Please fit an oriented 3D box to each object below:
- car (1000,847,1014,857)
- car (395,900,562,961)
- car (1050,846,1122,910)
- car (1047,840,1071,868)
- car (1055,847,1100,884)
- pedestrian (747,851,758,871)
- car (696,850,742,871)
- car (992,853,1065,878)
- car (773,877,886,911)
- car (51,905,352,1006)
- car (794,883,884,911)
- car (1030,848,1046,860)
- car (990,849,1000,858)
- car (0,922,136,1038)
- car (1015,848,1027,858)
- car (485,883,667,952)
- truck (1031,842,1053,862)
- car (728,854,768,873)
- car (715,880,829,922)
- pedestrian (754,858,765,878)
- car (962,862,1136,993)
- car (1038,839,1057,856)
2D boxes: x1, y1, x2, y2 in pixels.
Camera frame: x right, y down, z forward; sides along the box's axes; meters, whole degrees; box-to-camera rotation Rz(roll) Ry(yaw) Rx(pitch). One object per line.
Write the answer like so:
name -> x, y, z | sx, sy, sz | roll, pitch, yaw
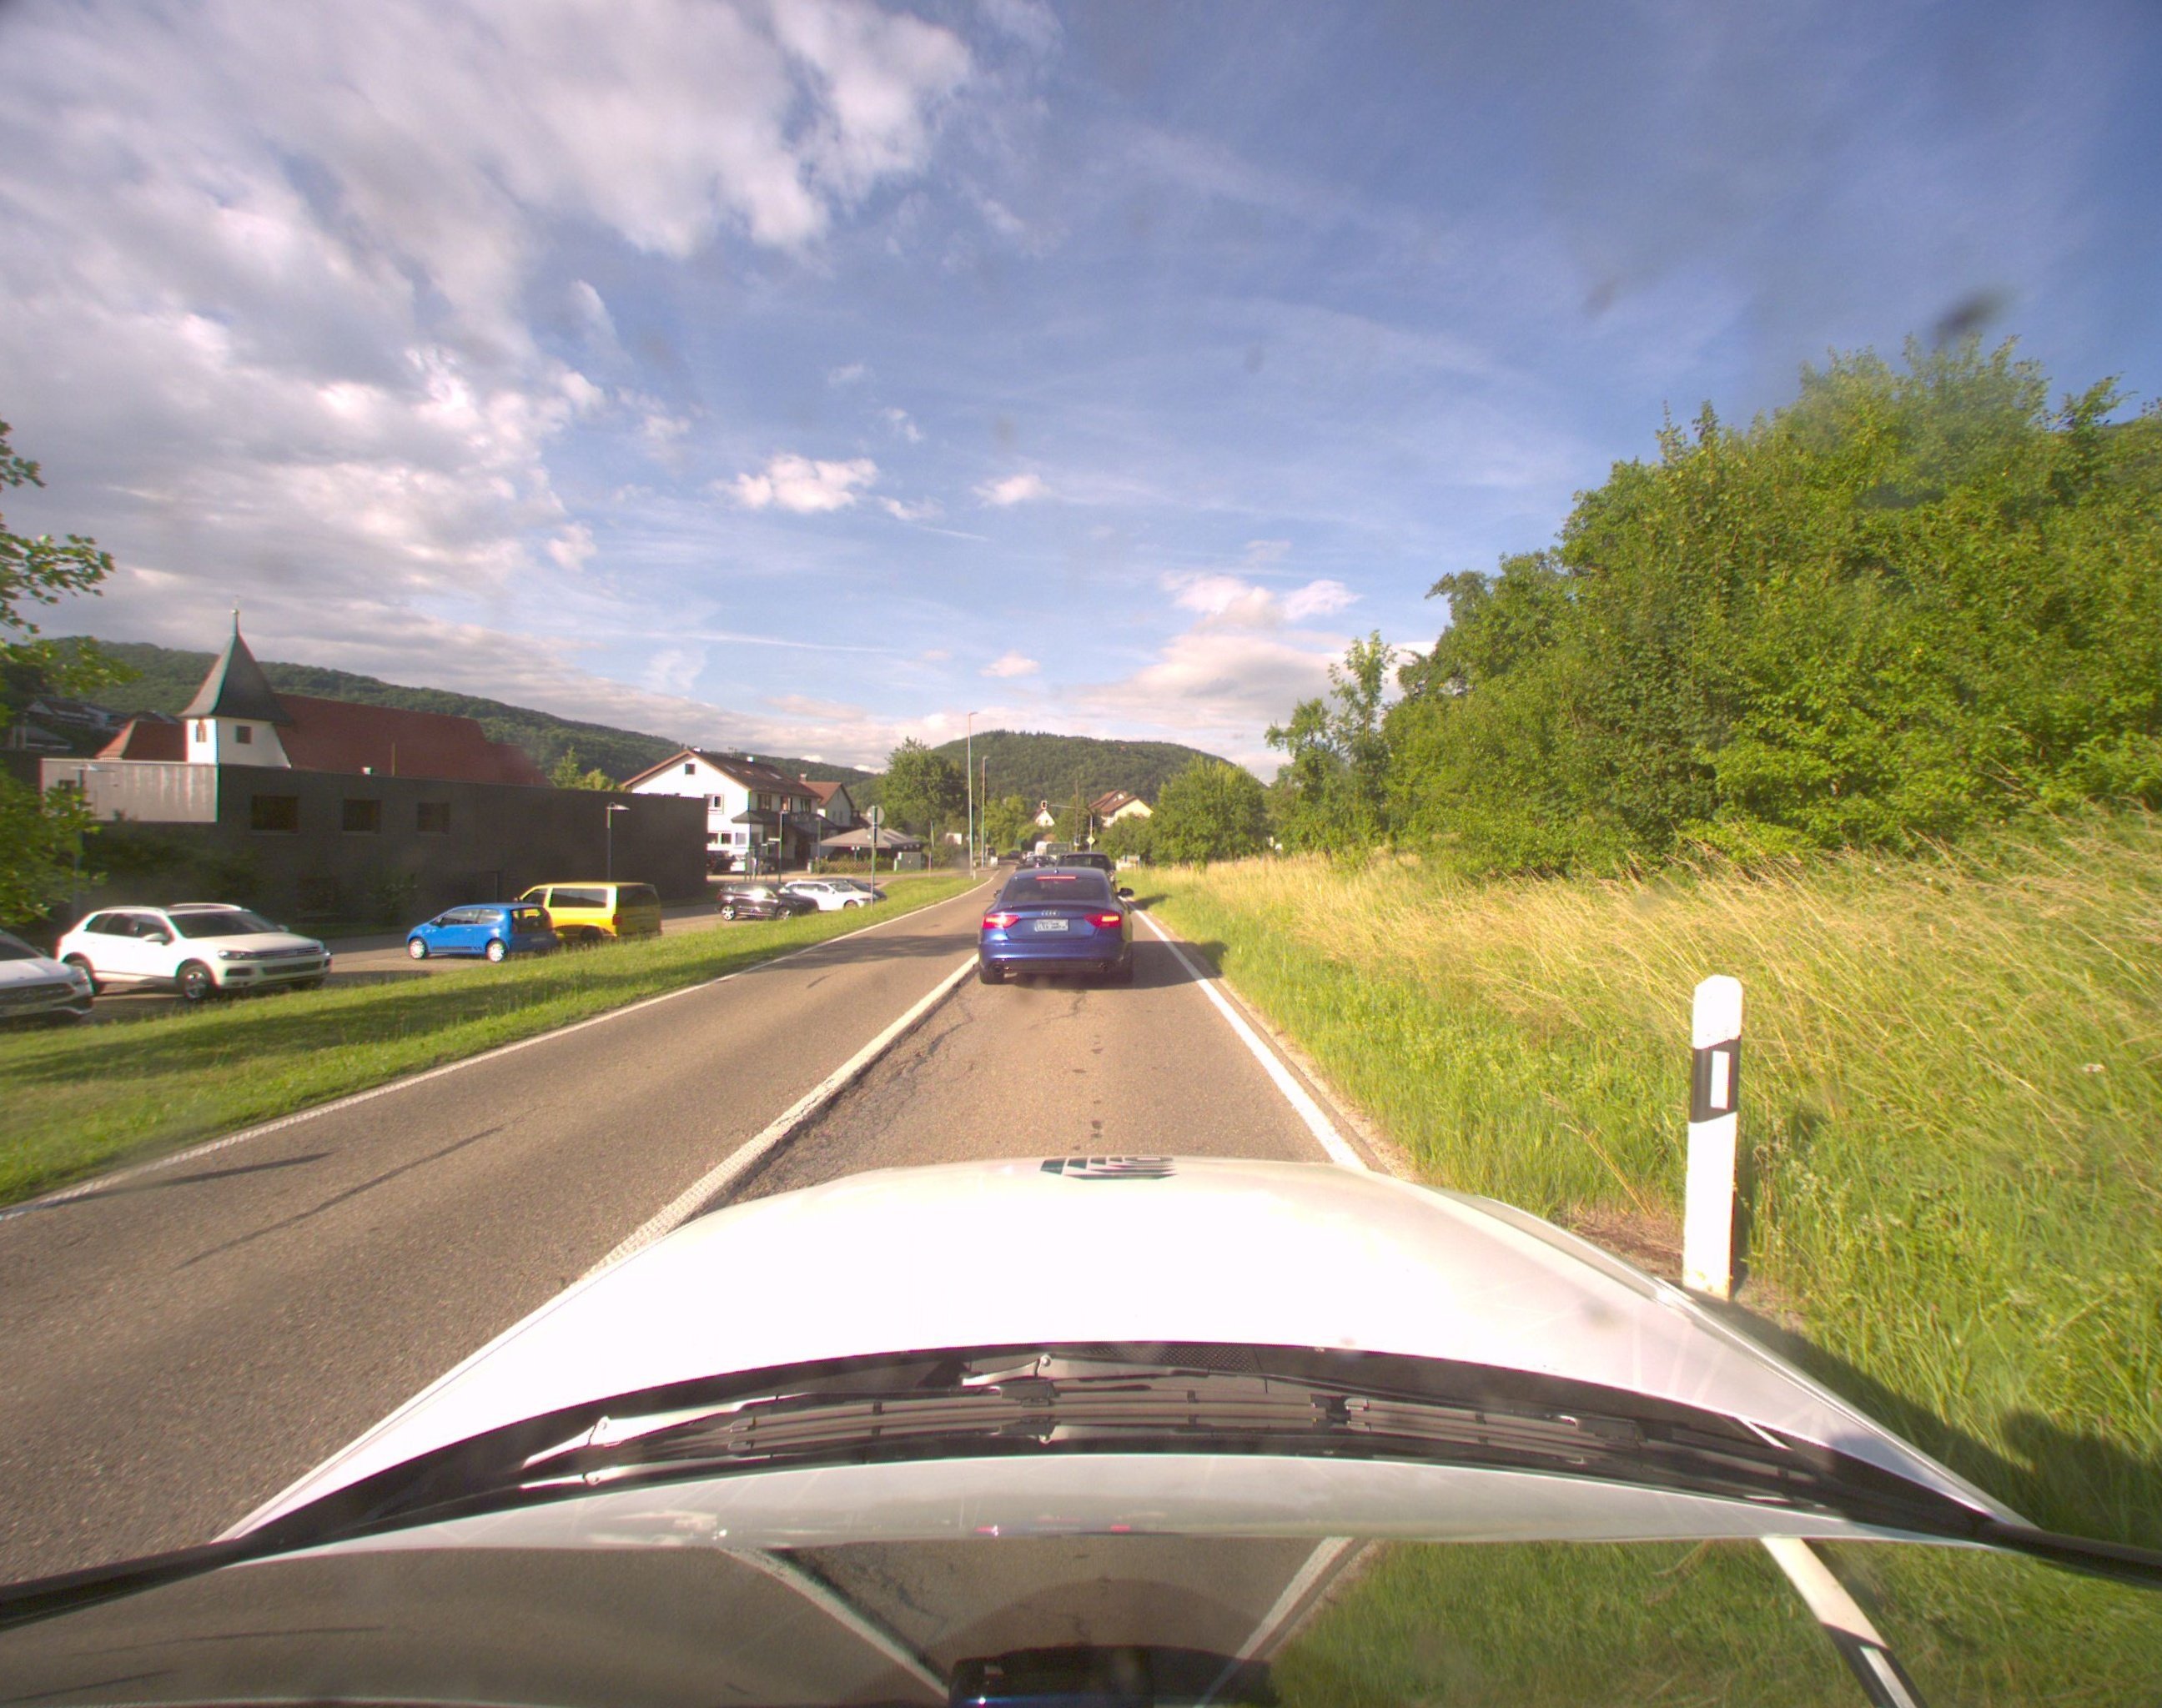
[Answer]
car -> -11.324, -0.241, 124.137 | 1.699, 1.490, 3.511 | 0, -1, -12
car -> -16.151, 2.023, 21.907 | 3.472, 1.472, 1.637 | 0, -1, 10
car -> 0.234, 0.648, 23.170 | 1.738, 1.639, 4.005 | 0, -1, 5
car -> -1.755, 0.030, 64.785 | 1.742, 2.195, 3.994 | 0, -1, -4
car -> -0.091, 0.541, 38.167 | 1.797, 1.639, 4.467 | 0, -1, 4
pedestrian -> -25.964, 0.559, 64.302 | 0.606, 1.503, 0.590 | 0, -1, 0
car -> -29.144, 0.506, 65.749 | 1.881, 1.662, 3.999 | 0, -1, 0
car -> -3.138, 0.680, 49.129 | 3.953, 1.442, 1.929 | 0, -1, 20
car -> -11.900, 1.879, 38.661 | 4.781, 1.493, 1.887 | 0, -1, 12
car -> -17.512, 1.944, 16.310 | 4.508, 1.703, 2.006 | 0, -1, 12
car -> -12.169, 2.158, 41.058 | 3.965, 1.310, 1.764 | 0, -1, 8
car -> -5.391, 0.012, 101.646 | 1.697, 1.490, 3.516 | 0, -1, -9
car -> -15.905, -0.023, 150.458 | 1.626, 1.576, 3.667 | 0, -1, -9
car -> -17.994, 1.941, 12.873 | 4.508, 1.555, 2.006 | 0, -1, 12
car -> -9.190, -0.118, 124.976 | 1.696, 1.490, 3.518 | 0, -1, -7
car -> -15.088, 1.831, 24.391 | 4.576, 1.868, 2.008 | 0, -1, 15
truck -> -4.166, -0.177, 85.396 | 1.697, 1.953, 5.904 | 0, -1, -9
car -> -26.886, 0.784, 65.808 | 1.550, 1.450, 3.999 | 0, -1, 0
car -> -12.938, 1.946, 34.245 | 3.998, 1.637, 2.007 | 0, -1, 12
pedestrian -> -25.308, 1.107, 64.098 | 0.606, 1.503, 0.590 | 0, -1, 0
car -> -0.214, 0.817, 10.755 | 1.787, 1.388, 4.005 | -1, -1, 5
car -> -3.285, -0.606, 79.896 | 1.742, 1.639, 3.994 | 0, -1, -4
